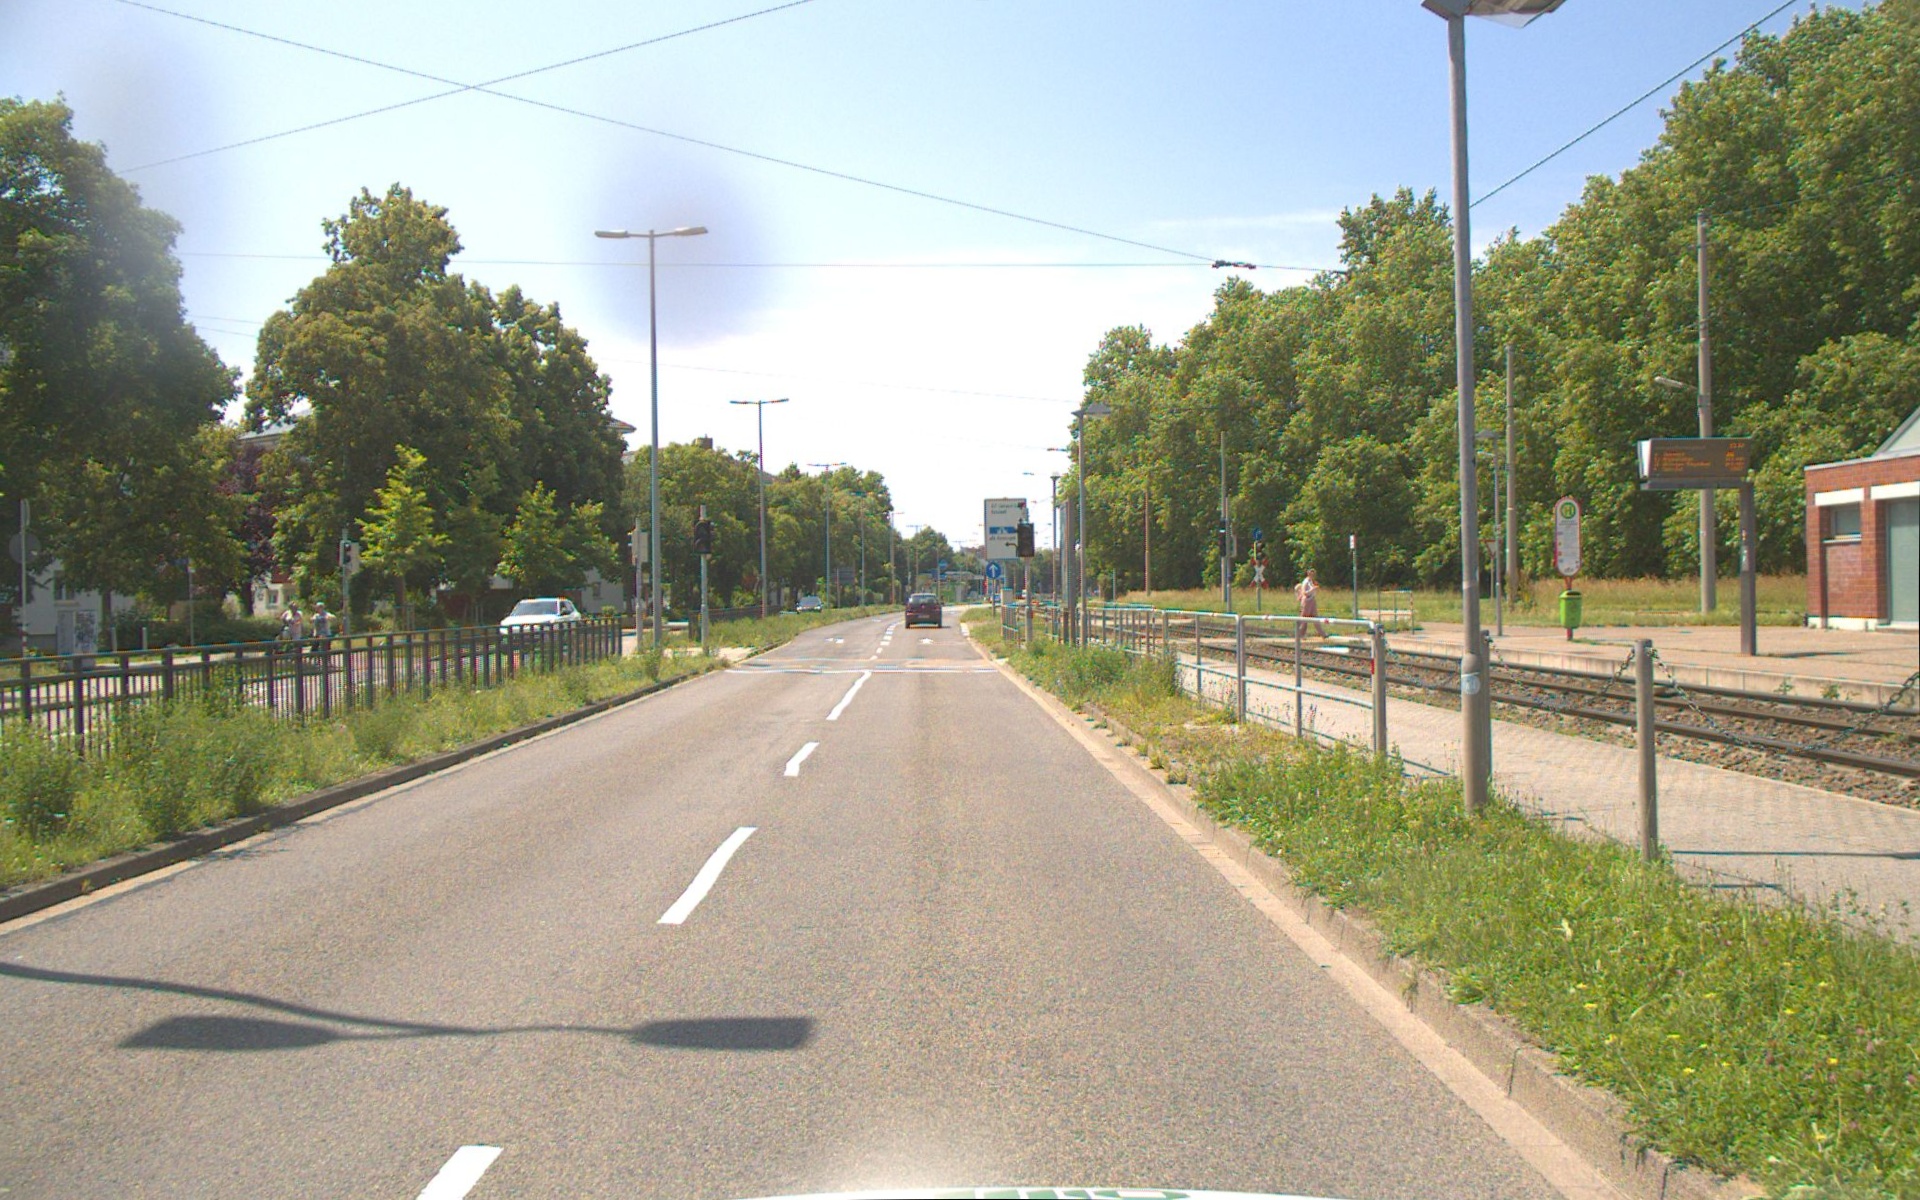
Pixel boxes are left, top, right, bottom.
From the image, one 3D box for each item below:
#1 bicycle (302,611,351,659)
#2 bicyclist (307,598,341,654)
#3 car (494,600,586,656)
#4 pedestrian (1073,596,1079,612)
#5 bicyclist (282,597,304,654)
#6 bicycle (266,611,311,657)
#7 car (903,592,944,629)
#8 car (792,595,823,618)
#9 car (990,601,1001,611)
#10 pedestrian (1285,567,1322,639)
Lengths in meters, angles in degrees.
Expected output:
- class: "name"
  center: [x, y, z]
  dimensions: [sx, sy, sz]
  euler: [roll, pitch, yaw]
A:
- class: "bicycle"
  center: [-15.736, 0.850, 41.127]
  dimensions: [0.576, 1.153, 1.615]
  euler: [-2, 0, -1]
- class: "bicyclist"
  center: [-15.719, 0.639, 40.866]
  dimensions: [0.534, 1.369, 0.755]
  euler: [-1, 0, -2]
- class: "car"
  center: [-13.001, 0.837, 51.381]
  dimensions: [1.784, 1.600, 4.346]
  euler: [-2, 0, -1]
- class: "pedestrian"
  center: [12.825, 0.402, 182.407]
  dimensions: [0.647, 1.756, 0.817]
  euler: [-1, 0, 5]
- class: "bicyclist"
  center: [-16.552, 0.626, 41.066]
  dimensions: [0.350, 1.416, 0.440]
  euler: [0, 0, 1]
- class: "bicycle"
  center: [-16.571, 0.832, 40.846]
  dimensions: [0.542, 1.114, 1.379]
  euler: [0, -1, 0]
- class: "car"
  center: [-1.576, 0.462, 71.975]
  dimensions: [1.668, 1.503, 3.716]
  euler: [-2, 0, -1]
- class: "car"
  center: [-10.772, 0.461, 117.062]
  dimensions: [1.720, 1.570, 4.161]
  euler: [-2, 0, 1]
- class: "car"
  center: [5.509, 0.895, 258.991]
  dimensions: [1.668, 1.506, 3.717]
  euler: [2, -1, 1]
- class: "pedestrian"
  center: [8.607, 0.075, 41.509]
  dimensions: [0.624, 1.790, 0.813]
  euler: [1, -1, -15]
